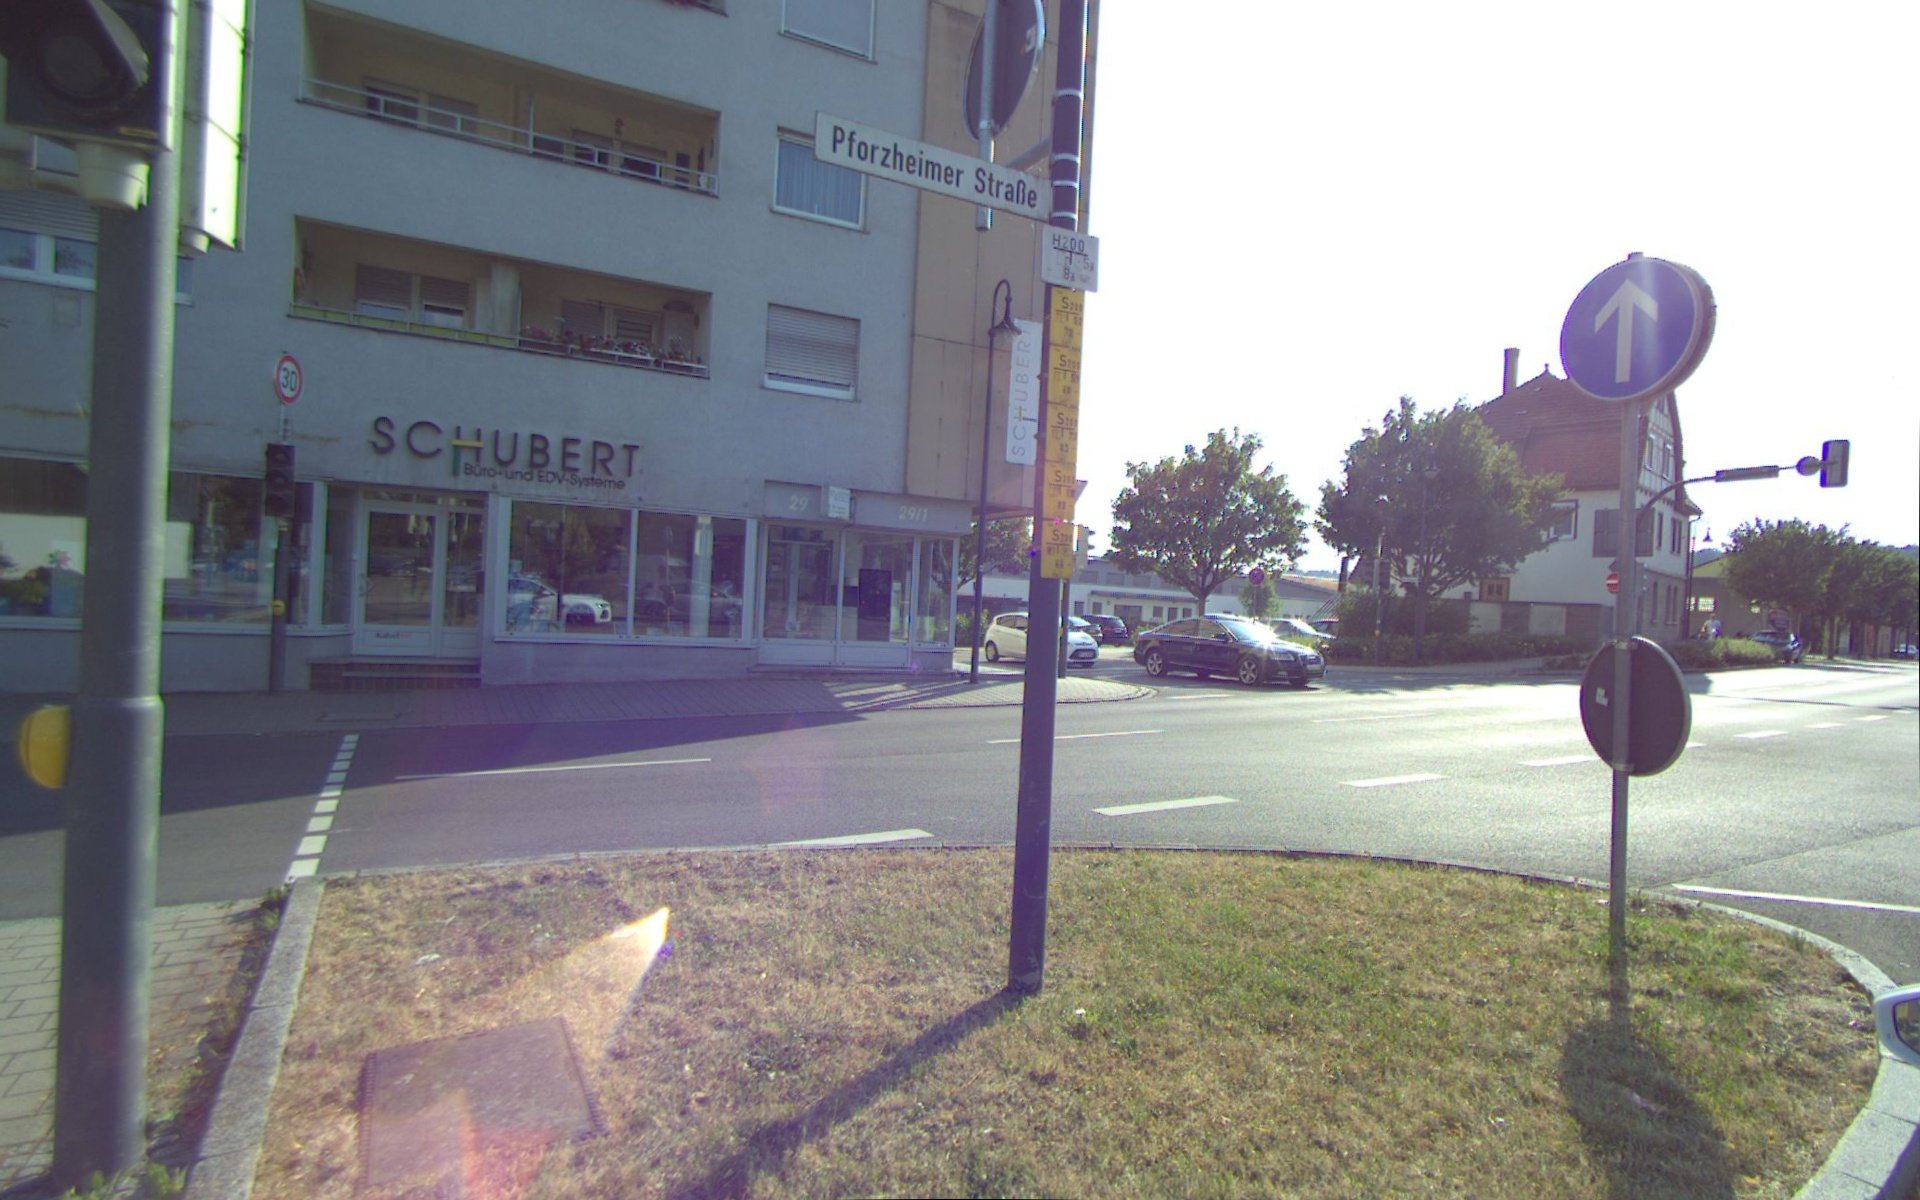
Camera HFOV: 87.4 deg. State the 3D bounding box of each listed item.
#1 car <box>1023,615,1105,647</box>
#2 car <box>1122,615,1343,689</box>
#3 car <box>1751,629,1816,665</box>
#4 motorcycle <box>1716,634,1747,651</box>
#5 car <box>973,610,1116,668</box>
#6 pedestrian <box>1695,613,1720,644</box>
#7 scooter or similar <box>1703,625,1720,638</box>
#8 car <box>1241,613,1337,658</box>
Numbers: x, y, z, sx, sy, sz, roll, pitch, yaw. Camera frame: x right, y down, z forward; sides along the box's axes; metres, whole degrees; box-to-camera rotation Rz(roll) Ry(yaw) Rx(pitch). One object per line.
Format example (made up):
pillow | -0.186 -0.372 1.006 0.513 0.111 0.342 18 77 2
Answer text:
car | 4.932 1.471 47.935 1.736 1.418 3.610 2 -1 -43
car | 6.037 1.105 22.852 1.897 1.455 4.831 2 -1 -33
car | 39.906 2.272 48.639 4.102 1.473 1.740 2 3 -42
motorcycle | 53.760 2.955 69.980 1.835 1.083 0.517 2 0 -6
car | 2.317 1.063 28.206 1.853 1.455 3.780 2 -1 -40
pedestrian | 34.820 1.334 46.767 0.702 1.413 0.805 2 0 -43
scooter or similar | 34.364 1.437 45.920 1.036 0.590 0.439 2 -1 -43
car | 13.269 1.416 40.606 1.736 1.661 3.254 2 -1 -43
